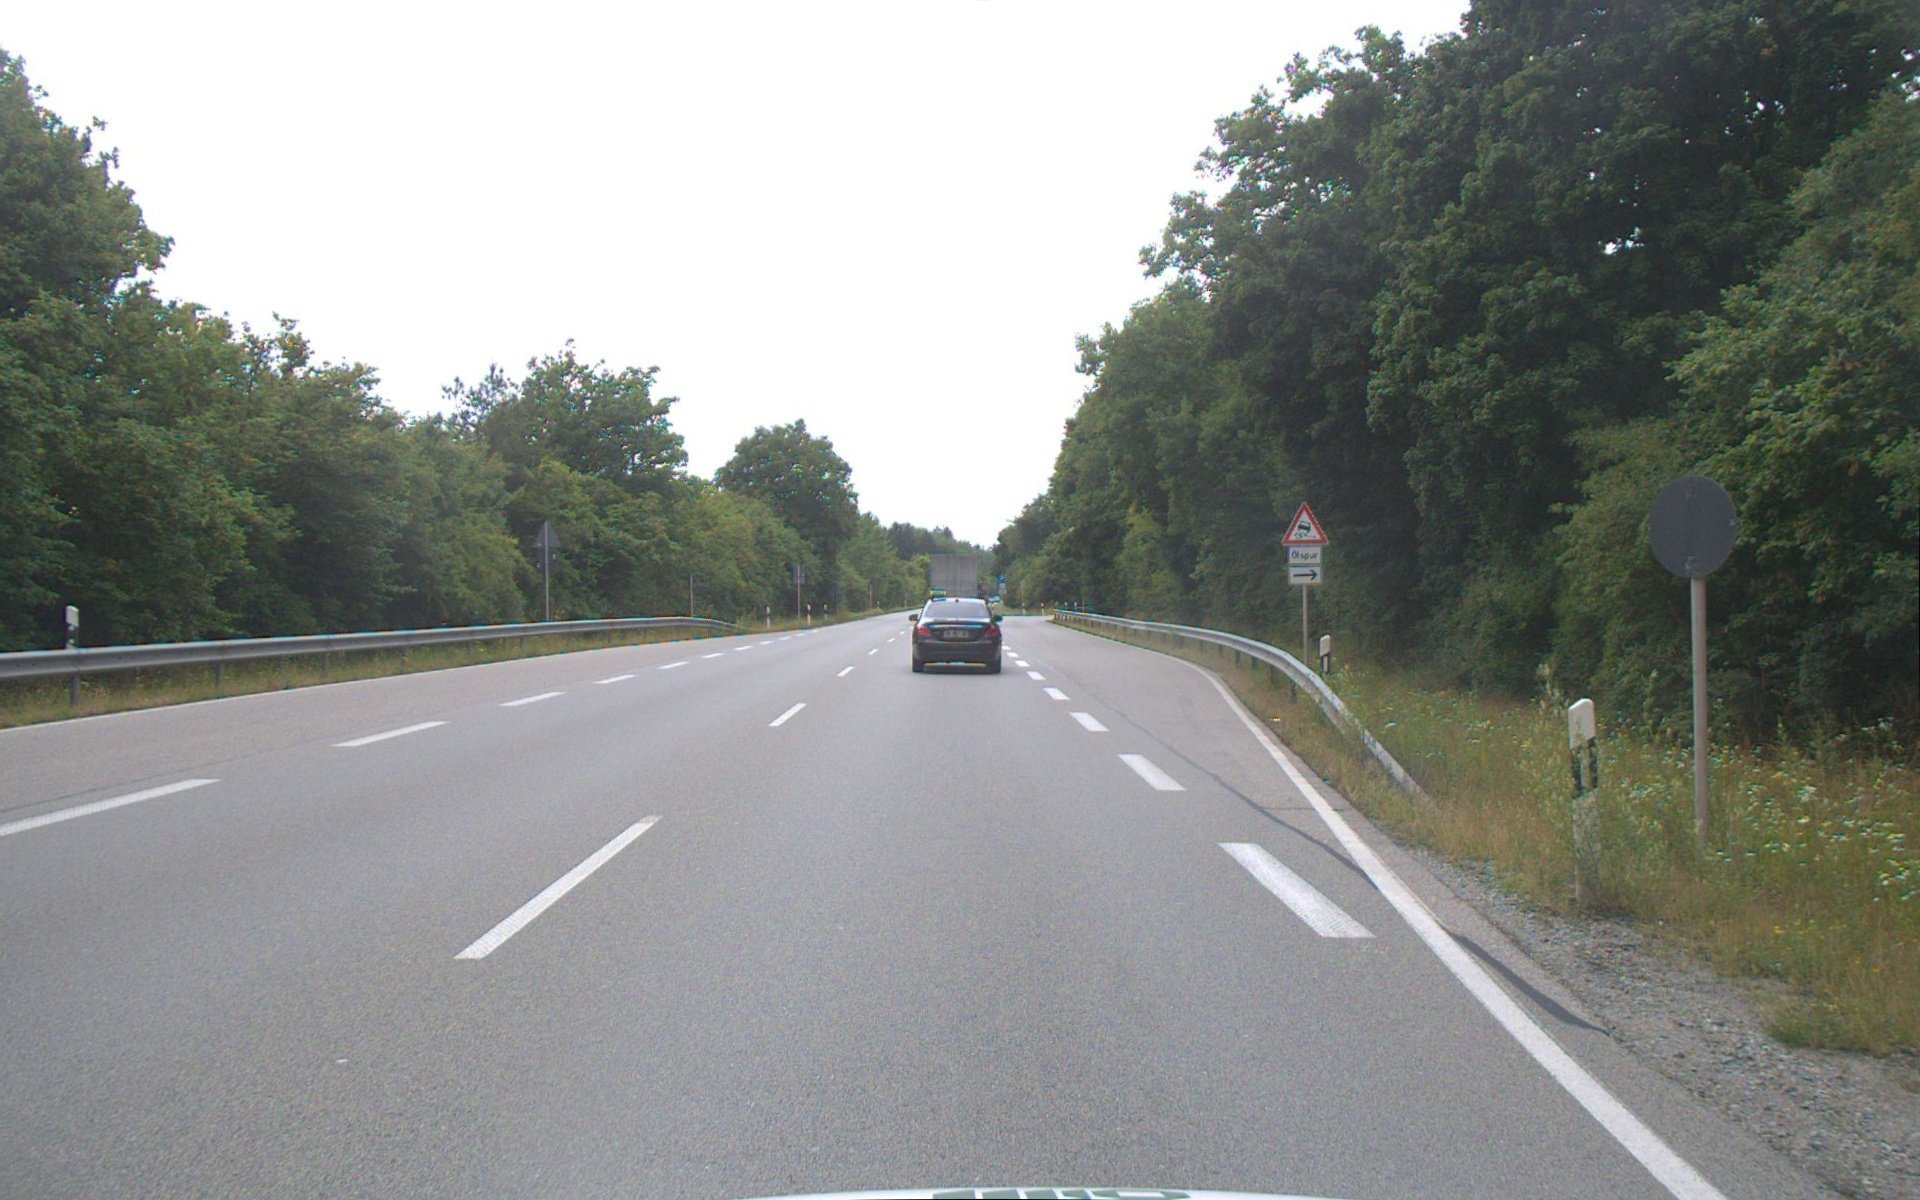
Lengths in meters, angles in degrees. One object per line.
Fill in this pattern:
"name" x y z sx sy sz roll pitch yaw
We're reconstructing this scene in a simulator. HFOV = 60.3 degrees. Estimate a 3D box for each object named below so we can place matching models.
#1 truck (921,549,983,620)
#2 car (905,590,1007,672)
"truck" -0.542 -0.810 92.457 3.214 3.675 11.397 1 0 -1
"car" -0.133 0.596 34.134 1.756 1.579 3.996 1 0 -5
